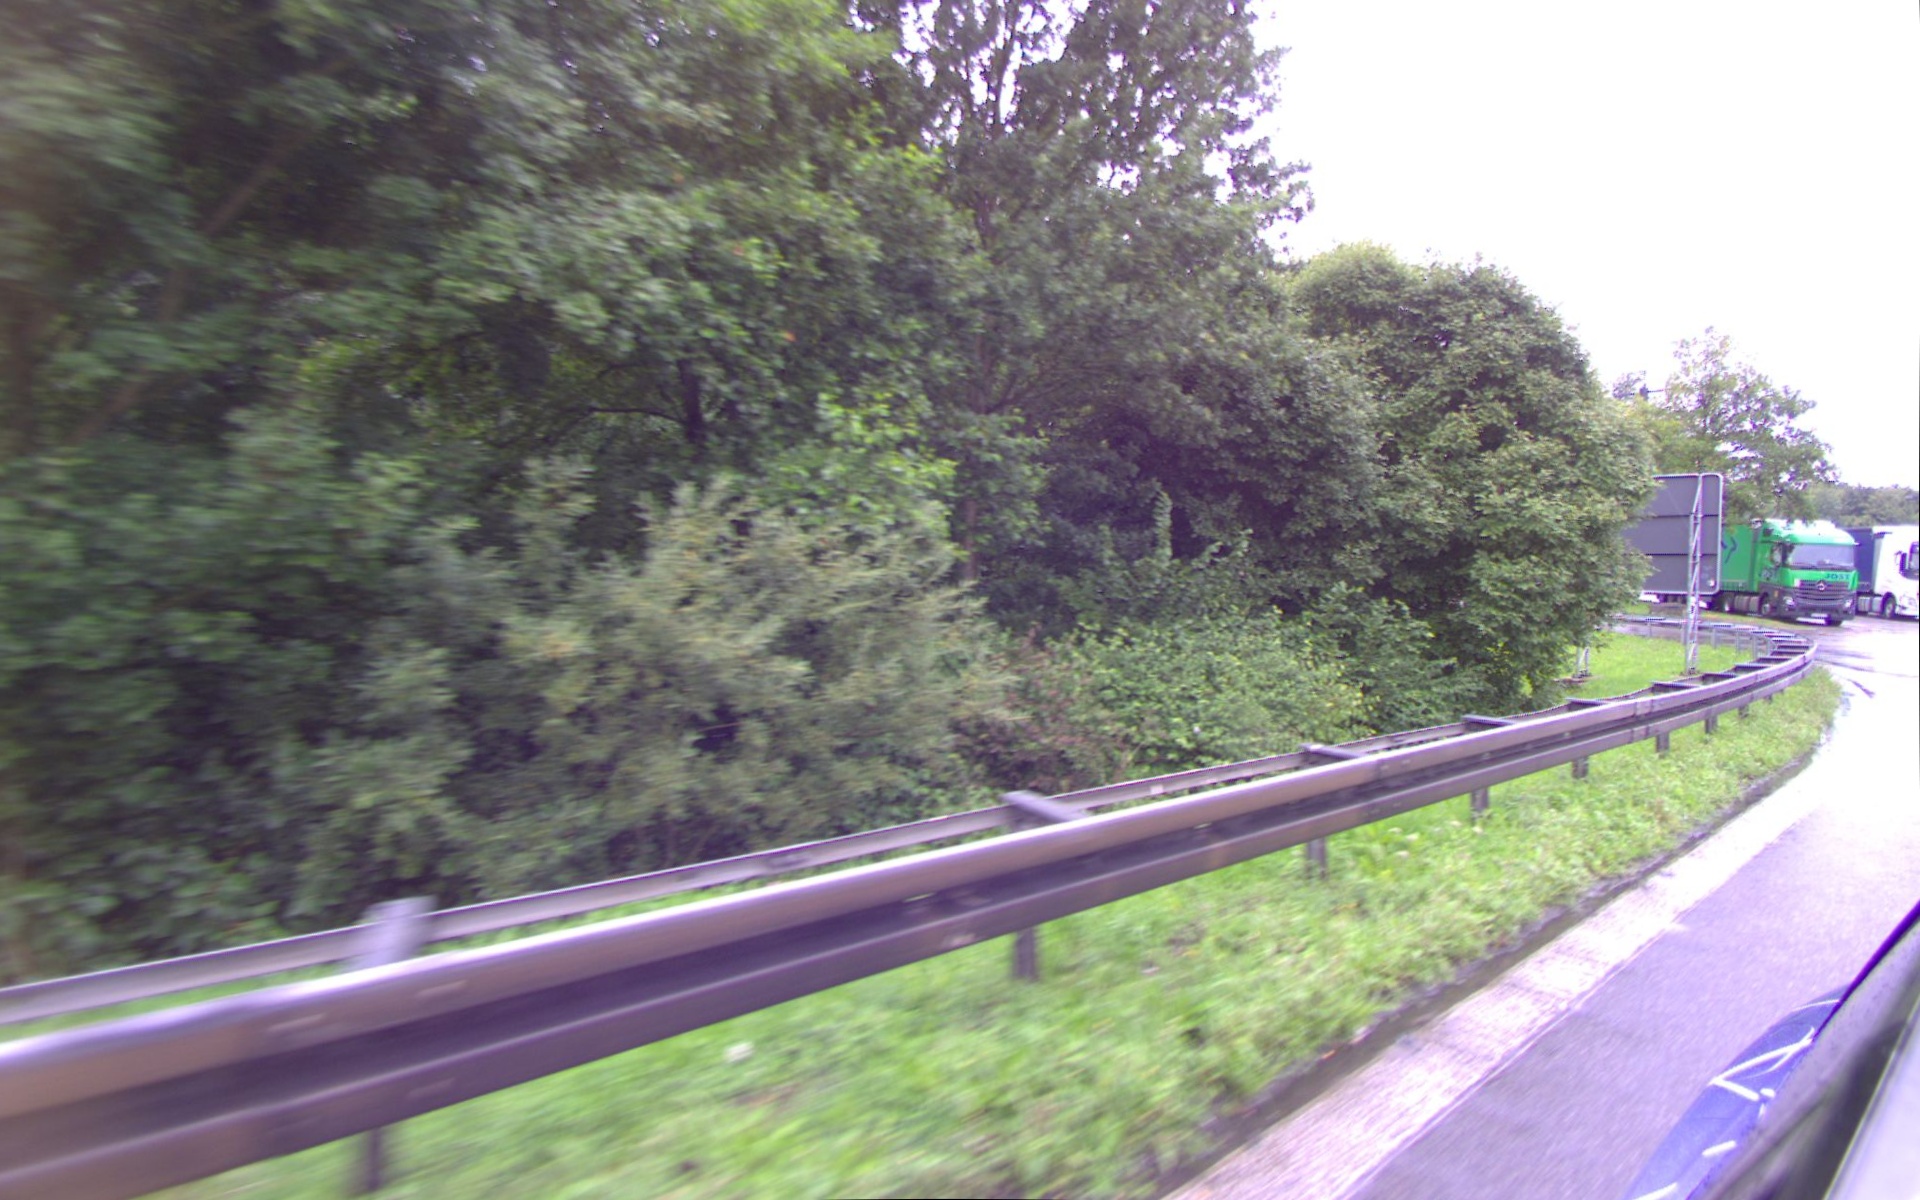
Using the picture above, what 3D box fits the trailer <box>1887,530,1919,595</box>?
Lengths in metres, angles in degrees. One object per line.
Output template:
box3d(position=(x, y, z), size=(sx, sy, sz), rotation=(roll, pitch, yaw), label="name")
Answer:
box3d(position=(58.100, -2.035, 57.400), size=(2.809, 3.966, 13.871), rotation=(3, 4, 20), label="trailer")

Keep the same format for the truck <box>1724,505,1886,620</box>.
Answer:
box3d(position=(33.463, -1.577, 40.401), size=(2.791, 4.199, 5.964), rotation=(2, 3, 19), label="truck")

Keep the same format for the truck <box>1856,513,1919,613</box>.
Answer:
box3d(position=(42.148, -1.617, 44.014), size=(2.792, 4.195, 5.270), rotation=(2, 3, 20), label="truck")

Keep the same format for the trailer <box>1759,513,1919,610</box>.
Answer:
box3d(position=(44.636, -2.010, 50.774), size=(2.792, 4.221, 13.908), rotation=(2, 4, 20), label="trailer")

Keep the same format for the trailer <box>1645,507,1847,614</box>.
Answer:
box3d(position=(35.708, -1.941, 46.915), size=(2.790, 4.199, 13.890), rotation=(2, 4, 19), label="trailer")
